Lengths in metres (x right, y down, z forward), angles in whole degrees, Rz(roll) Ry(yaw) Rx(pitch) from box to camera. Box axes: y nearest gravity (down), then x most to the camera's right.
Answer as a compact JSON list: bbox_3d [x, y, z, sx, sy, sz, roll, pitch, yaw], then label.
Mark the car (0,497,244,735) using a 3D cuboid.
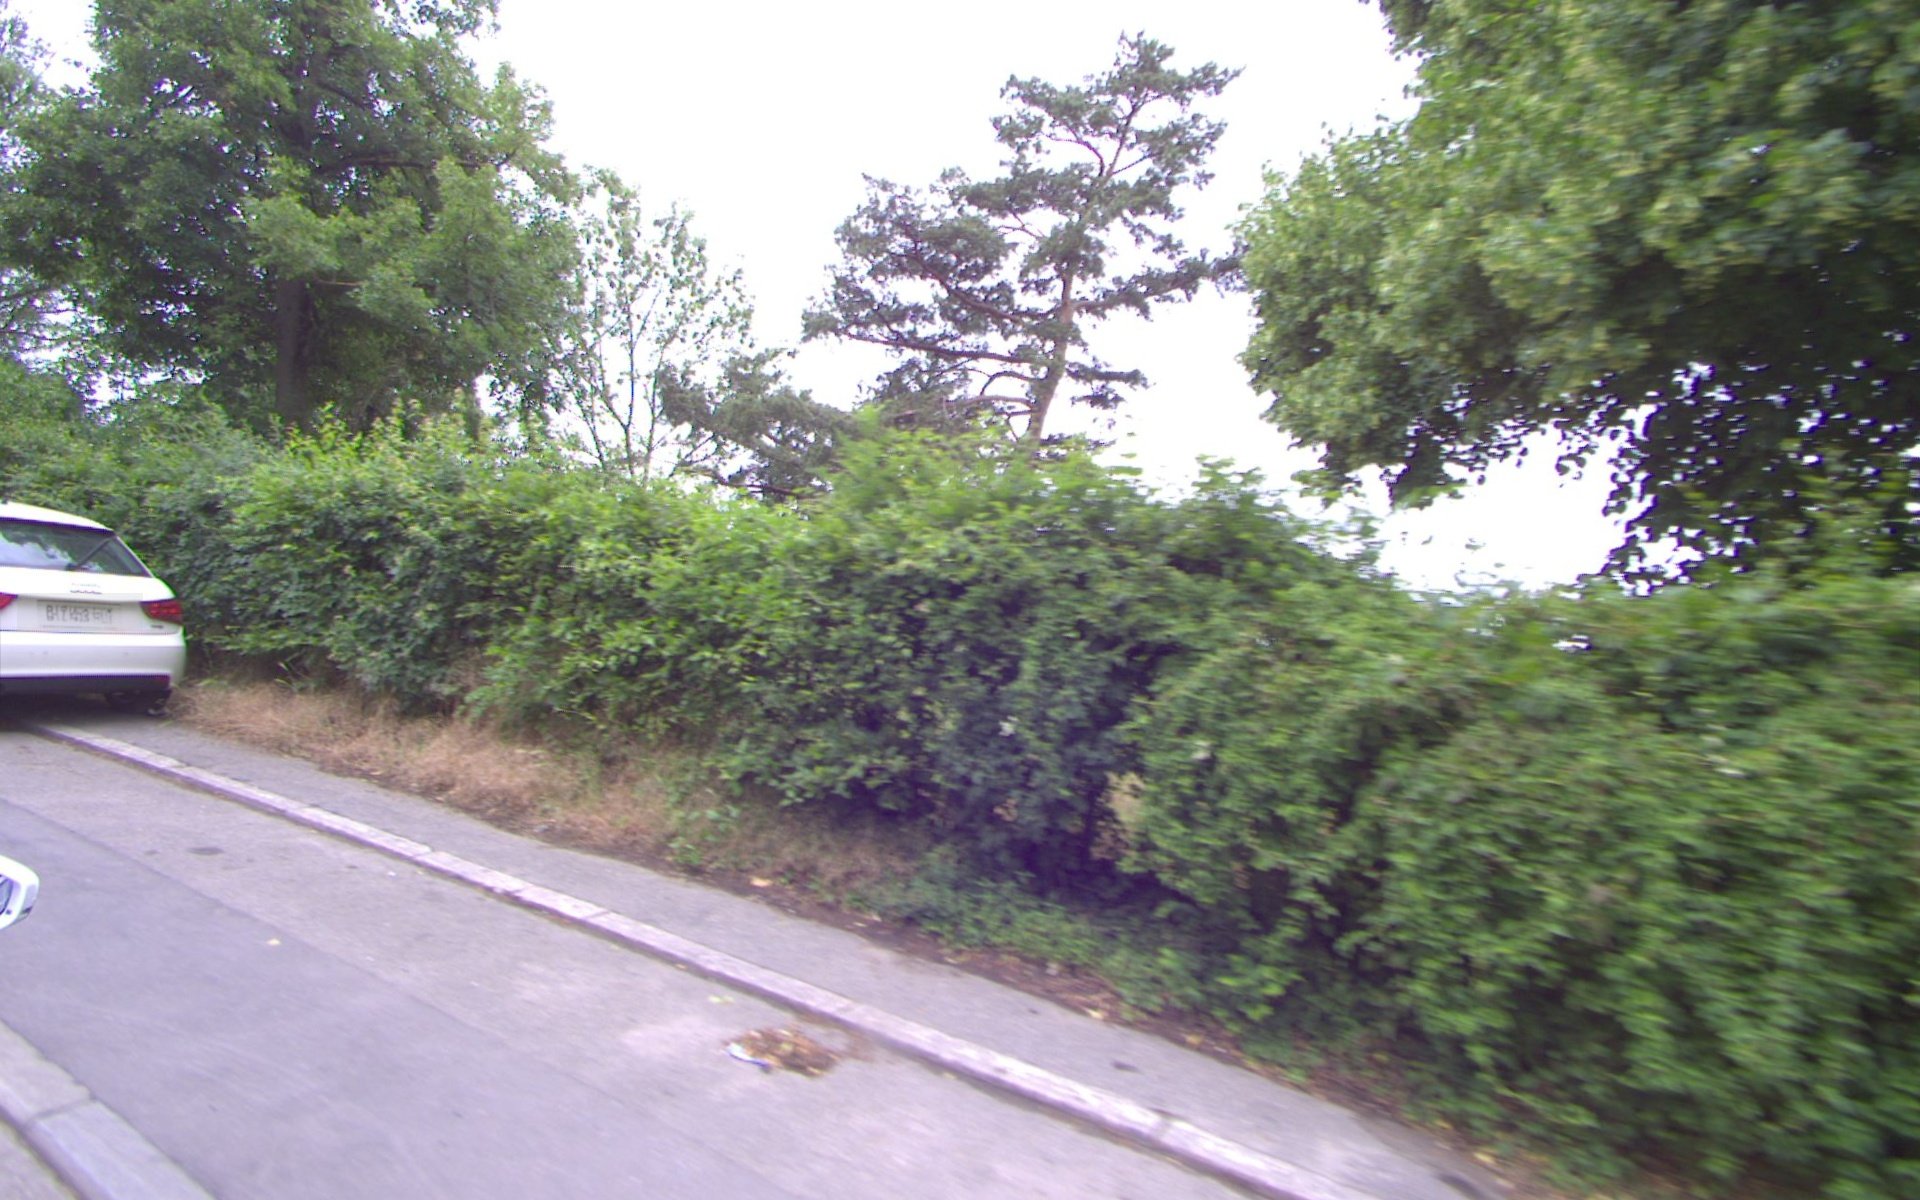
[{"bbox_3d":[-7.475,-0.086,7.204,3.925,1.436,1.783,7,0,19],"label":"car"}]
